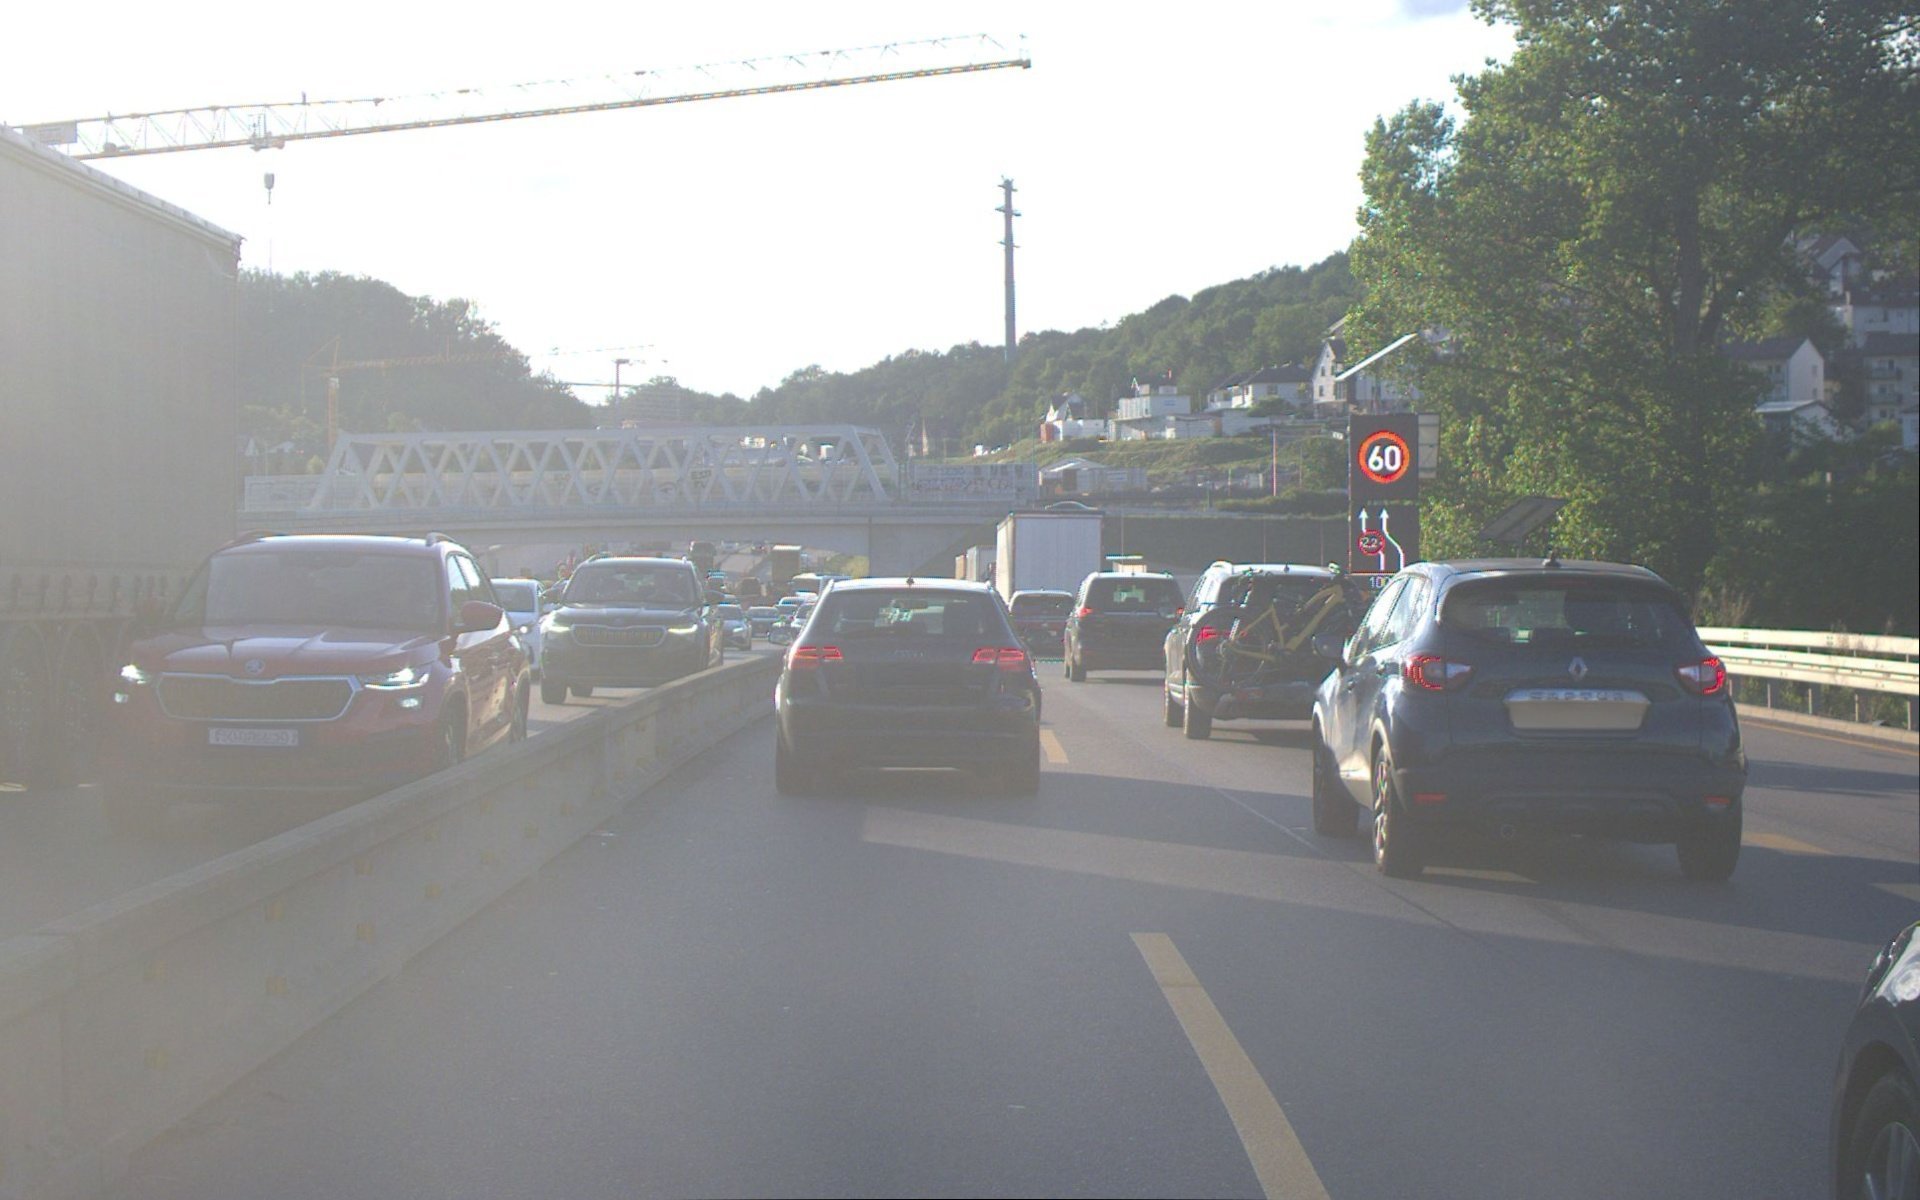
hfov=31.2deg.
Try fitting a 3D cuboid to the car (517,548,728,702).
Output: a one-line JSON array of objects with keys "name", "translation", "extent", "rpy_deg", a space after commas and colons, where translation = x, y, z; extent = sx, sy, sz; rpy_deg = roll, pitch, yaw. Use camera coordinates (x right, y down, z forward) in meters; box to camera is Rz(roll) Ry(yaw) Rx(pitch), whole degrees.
[{"name": "car", "translation": [-3.831, 0.255, 39.741], "extent": [1.993, 1.639, 4.512], "rpy_deg": [1, 0, 0]}]

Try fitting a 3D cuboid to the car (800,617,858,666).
[{"name": "car", "translation": [-4.214, 1.334, 111.089], "extent": [1.804, 1.506, 4.000], "rpy_deg": [0, 0, -1]}]

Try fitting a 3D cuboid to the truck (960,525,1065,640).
[{"name": "truck", "translation": [2.078, -0.825, 143.995], "extent": [3.890, 4.483, 15.268], "rpy_deg": [1, 1, -1]}]

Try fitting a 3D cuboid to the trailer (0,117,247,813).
[{"name": "trailer", "translation": [-6.978, -0.780, 19.731], "extent": [2.814, 4.037, 14.021], "rpy_deg": [0, 0, 0]}]

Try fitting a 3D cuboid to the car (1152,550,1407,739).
[{"name": "car", "translation": [2.847, 0.390, 31.603], "extent": [1.875, 1.594, 4.965], "rpy_deg": [0, 0, 0]}]

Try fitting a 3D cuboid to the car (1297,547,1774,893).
[{"name": "car", "translation": [2.882, 0.542, 18.065], "extent": [1.774, 1.580, 4.135], "rpy_deg": [1, 0, 0]}]

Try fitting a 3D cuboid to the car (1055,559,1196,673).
[{"name": "car", "translation": [2.466, 0.235, 52.114], "extent": [1.814, 1.627, 4.411], "rpy_deg": [1, 0, -1]}]

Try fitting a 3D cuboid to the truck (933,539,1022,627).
[{"name": "truck", "translation": [0.851, -1.008, 185.055], "extent": [3.890, 4.483, 13.850], "rpy_deg": [1, 1, -3]}]

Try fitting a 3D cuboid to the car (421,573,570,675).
[{"name": "car", "translation": [-6.848, 0.327, 51.004], "extent": [1.701, 1.441, 4.000], "rpy_deg": [0, 1, -1]}]

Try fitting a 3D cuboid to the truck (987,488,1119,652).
[{"name": "truck", "translation": [2.624, -1.065, 102.962], "extent": [3.385, 4.482, 15.268], "rpy_deg": [1, 2, 0]}]

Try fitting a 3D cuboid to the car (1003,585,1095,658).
[{"name": "car", "translation": [1.987, 0.474, 77.802], "extent": [1.770, 1.547, 4.000], "rpy_deg": [2, 0, -2]}]

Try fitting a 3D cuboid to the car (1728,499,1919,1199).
[{"name": "car", "translation": [2.465, 0.676, 4.364], "extent": [1.812, 1.610, 4.526], "rpy_deg": [2, 0, -2]}]

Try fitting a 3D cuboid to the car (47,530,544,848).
[{"name": "car", "translation": [-3.671, 0.440, 19.857], "extent": [1.993, 1.614, 4.605], "rpy_deg": [0, 0, 0]}]

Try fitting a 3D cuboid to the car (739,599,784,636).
[{"name": "car", "translation": [-8.531, 0.752, 148.076], "extent": [1.710, 1.547, 4.000], "rpy_deg": [-1, 0, -1]}]

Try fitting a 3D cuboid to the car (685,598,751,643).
[{"name": "car", "translation": [-7.504, 0.653, 106.842], "extent": [1.774, 1.378, 4.532], "rpy_deg": [0, -1, -1]}]

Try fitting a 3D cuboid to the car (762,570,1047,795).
[{"name": "car", "translation": [-0.429, 0.519, 23.571], "extent": [1.770, 1.385, 4.000], "rpy_deg": [1, 0, -2]}]
